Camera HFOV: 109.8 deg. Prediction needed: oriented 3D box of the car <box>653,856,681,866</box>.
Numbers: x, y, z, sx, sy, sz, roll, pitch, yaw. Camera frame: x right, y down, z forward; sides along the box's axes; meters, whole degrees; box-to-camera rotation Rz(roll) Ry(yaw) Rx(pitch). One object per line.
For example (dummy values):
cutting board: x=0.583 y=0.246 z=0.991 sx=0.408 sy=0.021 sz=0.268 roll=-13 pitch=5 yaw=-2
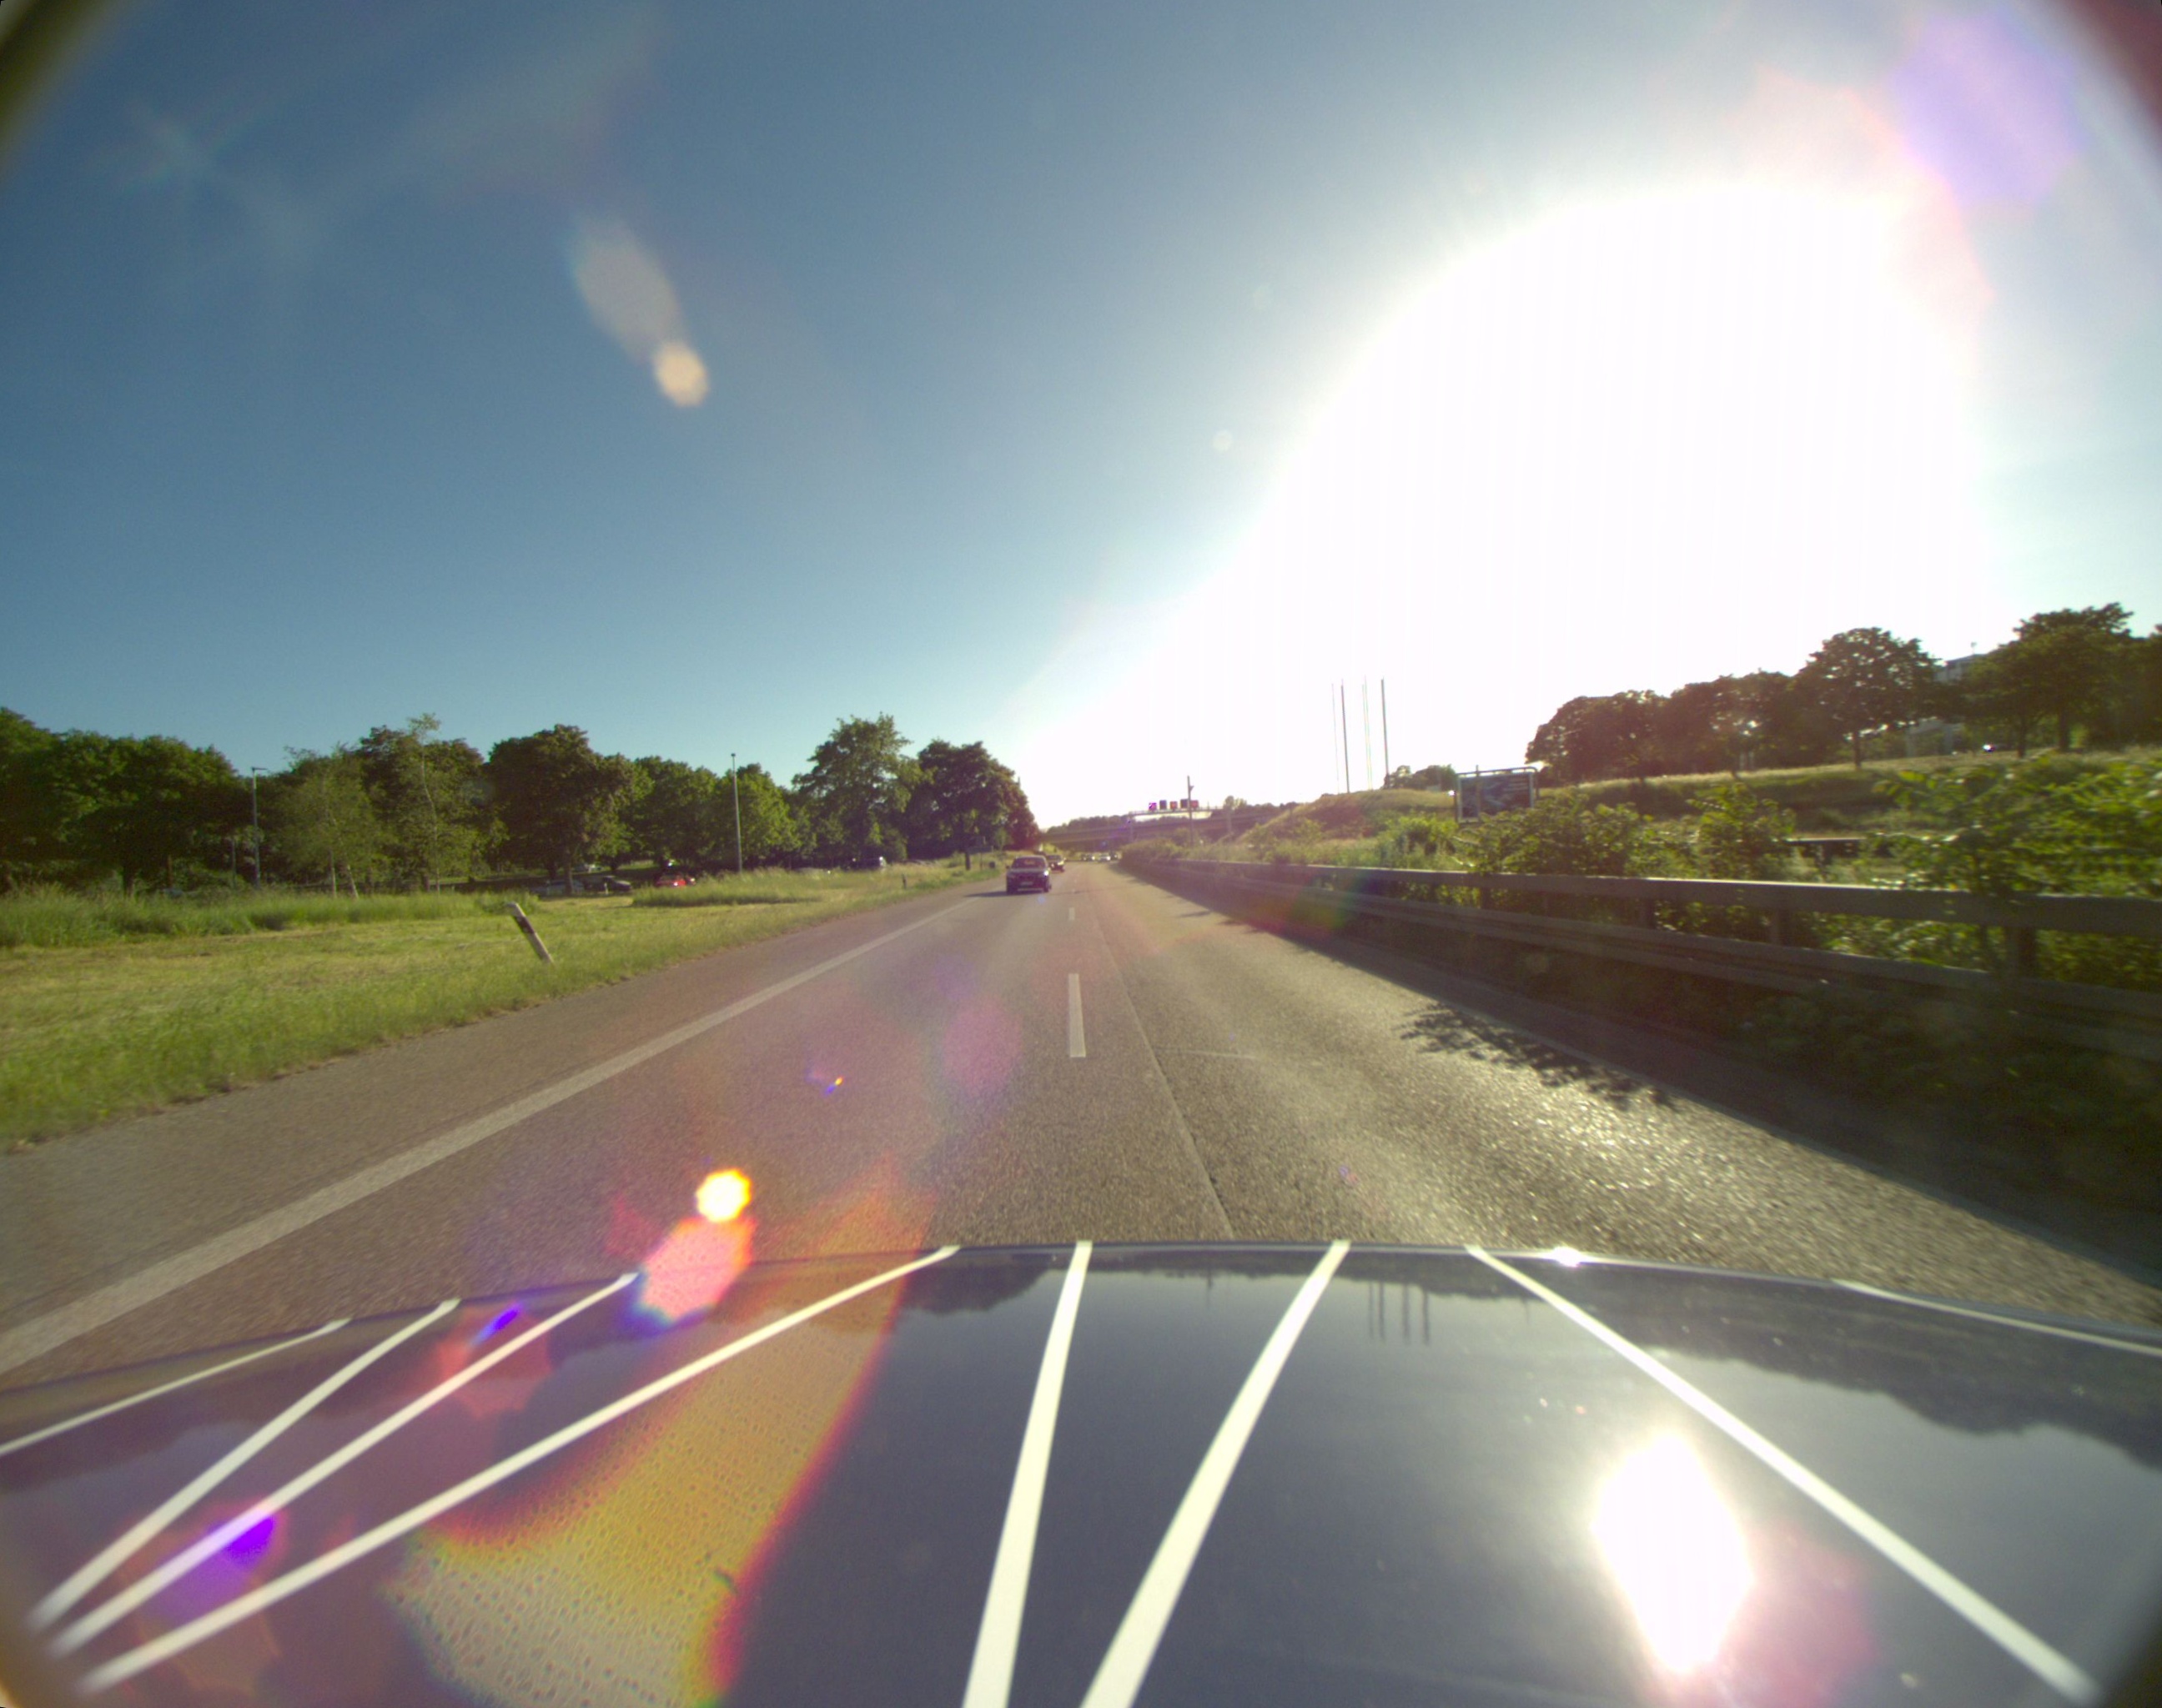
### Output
car: x=-68.274 y=1.140 z=125.413 sx=1.907 sy=1.567 sz=4.003 roll=-3 pitch=0 yaw=11

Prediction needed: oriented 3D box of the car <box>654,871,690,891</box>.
car: x=-34.041 y=2.240 z=63.324 sx=1.704 sy=1.454 sz=4.143 roll=-3 pitch=1 yaw=-15

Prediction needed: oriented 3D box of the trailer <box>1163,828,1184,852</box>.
trailer: x=16.710 y=-2.523 z=138.104 sx=2.655 sy=4.099 sz=10.699 roll=-3 pitch=0 yaw=2

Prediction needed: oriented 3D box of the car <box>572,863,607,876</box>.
car: x=-69.606 y=2.154 z=107.636 sx=1.907 sy=1.567 sz=4.003 roll=-3 pitch=0 yaw=12

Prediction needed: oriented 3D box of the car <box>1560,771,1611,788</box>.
car: x=75.516 y=-11.112 z=113.802 sx=2.551 sy=2.002 sz=6.087 roll=-2 pitch=1 yaw=-16

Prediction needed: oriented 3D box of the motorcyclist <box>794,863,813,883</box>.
motorcyclist: x=-20.493 y=1.384 z=56.161 sx=1.095 sy=1.439 sz=0.817 roll=-3 pitch=2 yaw=-37

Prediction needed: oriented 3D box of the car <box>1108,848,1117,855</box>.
car: x=6.362 y=-0.479 z=153.334 sx=1.682 sy=1.412 sz=3.669 roll=-3 pitch=1 yaw=2

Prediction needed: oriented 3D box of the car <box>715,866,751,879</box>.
car: x=-48.469 y=2.537 z=105.942 sx=4.120 sy=1.416 sz=1.865 roll=-3 pitch=4 yaw=-1

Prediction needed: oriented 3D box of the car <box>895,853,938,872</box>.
car: x=-20.740 y=1.110 z=96.031 sx=4.801 sy=2.012 sz=2.025 roll=-3 pitch=4 yaw=-1

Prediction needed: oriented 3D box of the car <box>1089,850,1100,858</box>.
car: x=2.471 y=-0.031 z=136.851 sx=1.682 sy=1.412 sz=3.670 roll=-3 pitch=1 yaw=3

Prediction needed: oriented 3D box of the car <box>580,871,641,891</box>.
car: x=-49.760 y=2.826 z=80.406 sx=5.203 sy=1.855 sz=1.957 roll=-2 pitch=2 yaw=1

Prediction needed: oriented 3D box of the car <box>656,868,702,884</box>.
car: x=-49.669 y=2.688 z=93.960 sx=4.597 sy=1.766 sz=1.945 roll=-2 pitch=2 yaw=-5

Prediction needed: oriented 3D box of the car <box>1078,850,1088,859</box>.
car: x=0.444 y=0.102 z=163.881 sx=1.867 sy=1.681 sz=4.000 roll=-2 pitch=1 yaw=2

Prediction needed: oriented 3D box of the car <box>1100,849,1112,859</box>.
car: x=3.993 y=-0.060 z=120.749 sx=1.725 sy=1.412 sz=3.669 roll=-3 pitch=1 yaw=2

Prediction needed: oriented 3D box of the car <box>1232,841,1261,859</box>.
car: x=15.150 y=-0.377 z=69.803 sx=1.846 sy=1.552 sz=4.000 roll=-2 pitch=0 yaw=1

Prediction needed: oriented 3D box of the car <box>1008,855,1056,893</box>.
car: x=-2.065 y=0.817 z=32.910 sx=1.703 sy=1.497 sz=4.579 roll=-1 pitch=0 yaw=1

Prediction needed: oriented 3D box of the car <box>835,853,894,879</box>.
car: x=-21.545 y=1.182 z=75.722 sx=5.043 sy=2.124 sz=2.094 roll=-5 pitch=2 yaw=9

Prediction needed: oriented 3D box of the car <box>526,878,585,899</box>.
car: x=-47.788 y=3.136 z=69.231 sx=4.232 sy=1.551 sz=1.784 roll=-4 pitch=1 yaw=-31

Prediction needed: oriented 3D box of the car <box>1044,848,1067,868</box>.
car: x=-2.154 y=0.311 z=65.969 sx=1.759 sy=1.564 sz=4.519 roll=-1 pitch=2 yaw=0

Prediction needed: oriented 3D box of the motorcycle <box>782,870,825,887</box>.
motorcycle: x=-20.481 y=1.807 z=56.156 sx=2.840 sy=1.063 sz=0.817 roll=-3 pitch=1 yaw=-37

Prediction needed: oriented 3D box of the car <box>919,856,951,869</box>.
car: x=-19.968 y=1.099 z=104.040 sx=3.941 sy=1.452 sz=1.923 roll=-3 pitch=4 yaw=-1
